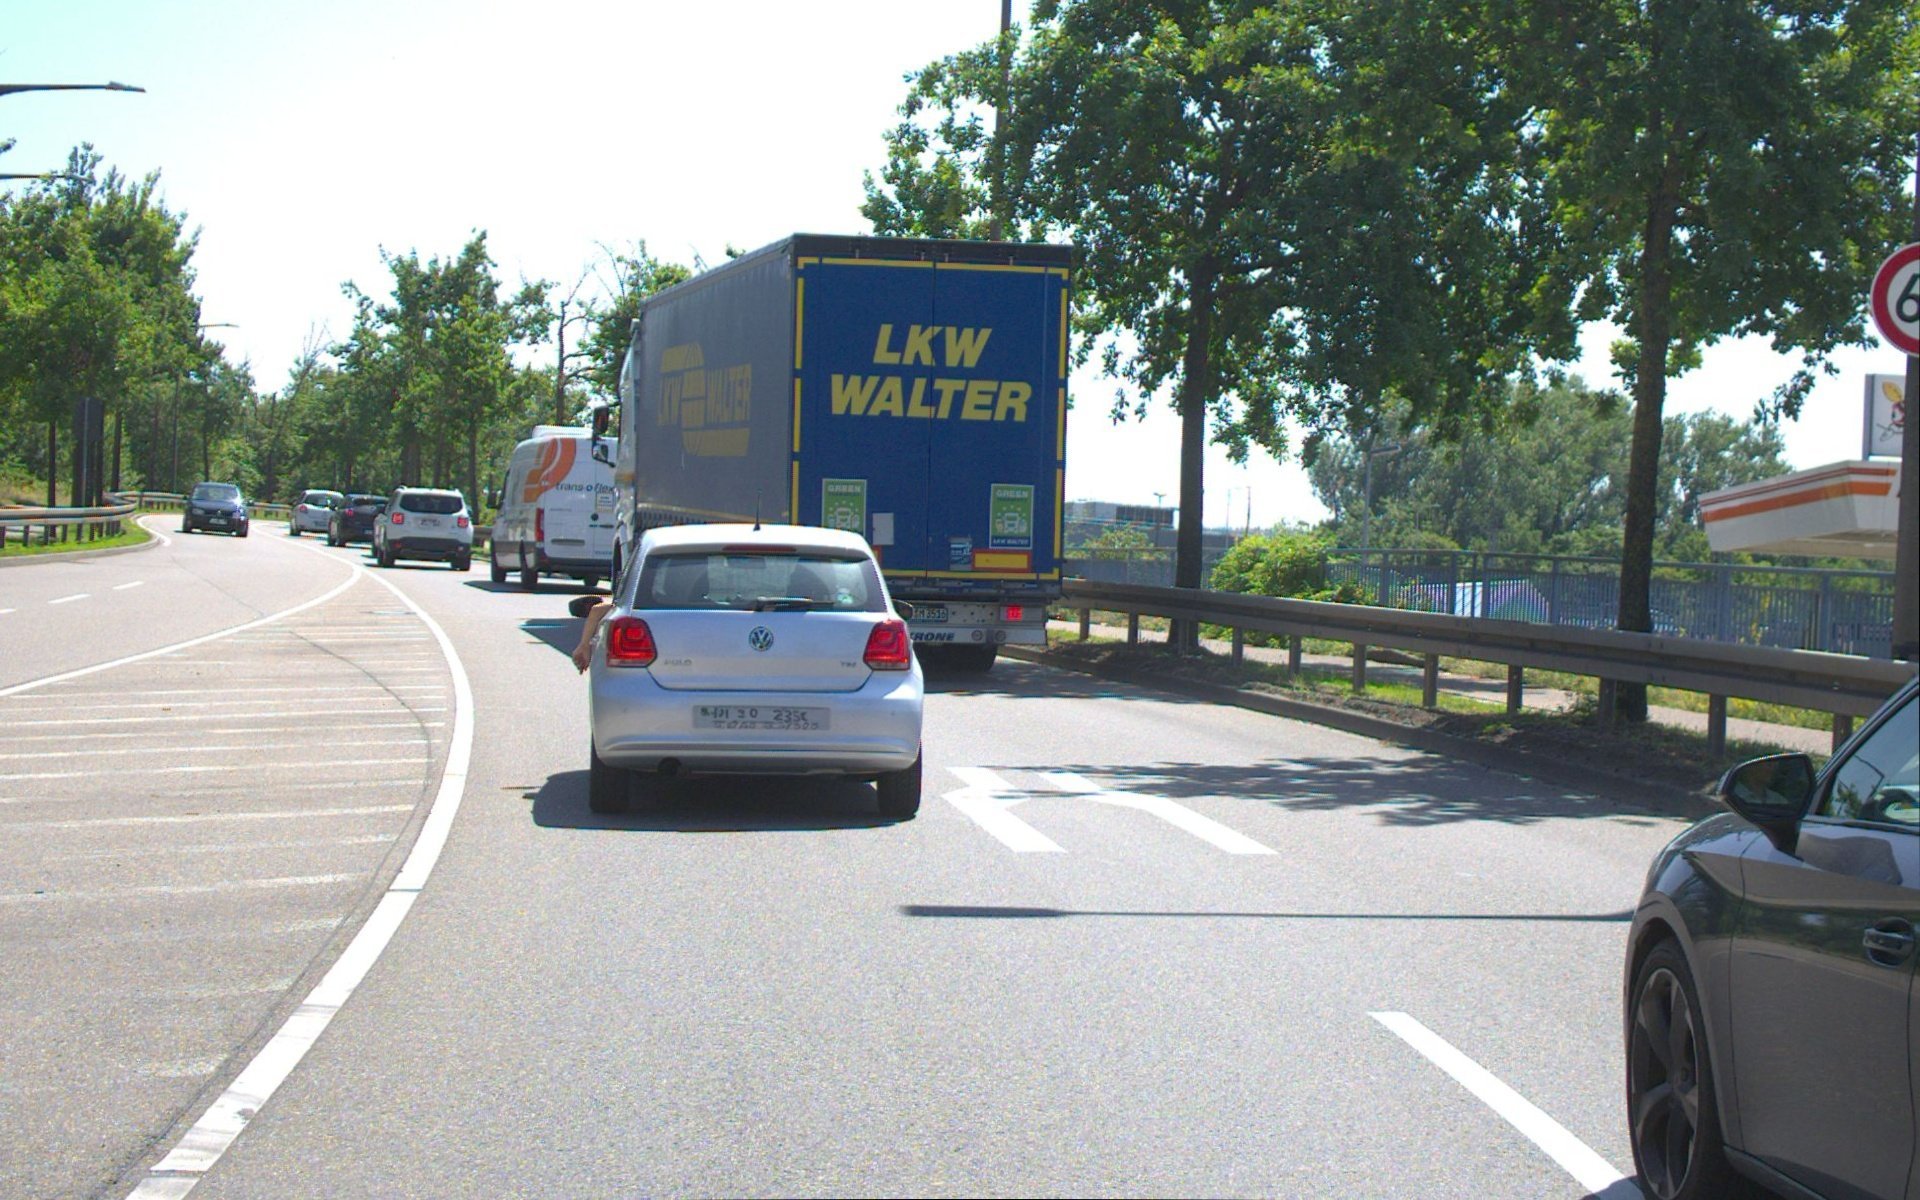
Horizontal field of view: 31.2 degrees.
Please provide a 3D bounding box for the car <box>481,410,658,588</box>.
[{"bbox_3d":[-6.962,-1.787,60.676,2.175,2.890,6.360,2,1,-14],"label":"car"}]

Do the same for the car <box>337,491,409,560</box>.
[{"bbox_3d":[-15.970,-1.995,93.377,1.721,1.720,4.001,2,-1,-12],"label":"car"}]

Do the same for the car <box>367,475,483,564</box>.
[{"bbox_3d":[-11.259,-1.659,72.139,1.903,1.712,4.225,2,-1,-15],"label":"car"}]

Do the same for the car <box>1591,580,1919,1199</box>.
[{"bbox_3d":[2.406,0.721,5.717,1.604,1.451,4.236,2,0,-4],"label":"car"}]

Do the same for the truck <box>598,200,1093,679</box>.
[{"bbox_3d":[-1.862,-1.518,38.996,2.832,4.184,16.479,2,0,-11],"label":"truck"}]

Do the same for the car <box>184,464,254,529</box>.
[{"bbox_3d":[-20.693,-2.909,96.061,1.678,1.665,3.756,1,3,-9],"label":"car"}]

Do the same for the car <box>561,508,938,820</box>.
[{"bbox_3d":[-1.204,0.315,18.202,1.645,1.434,3.538,2,0,-8],"label":"car"}]

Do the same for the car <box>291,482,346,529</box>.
[{"bbox_3d":[-19.979,-2.937,107.042,1.607,1.355,3.663,2,0,-11],"label":"car"}]
